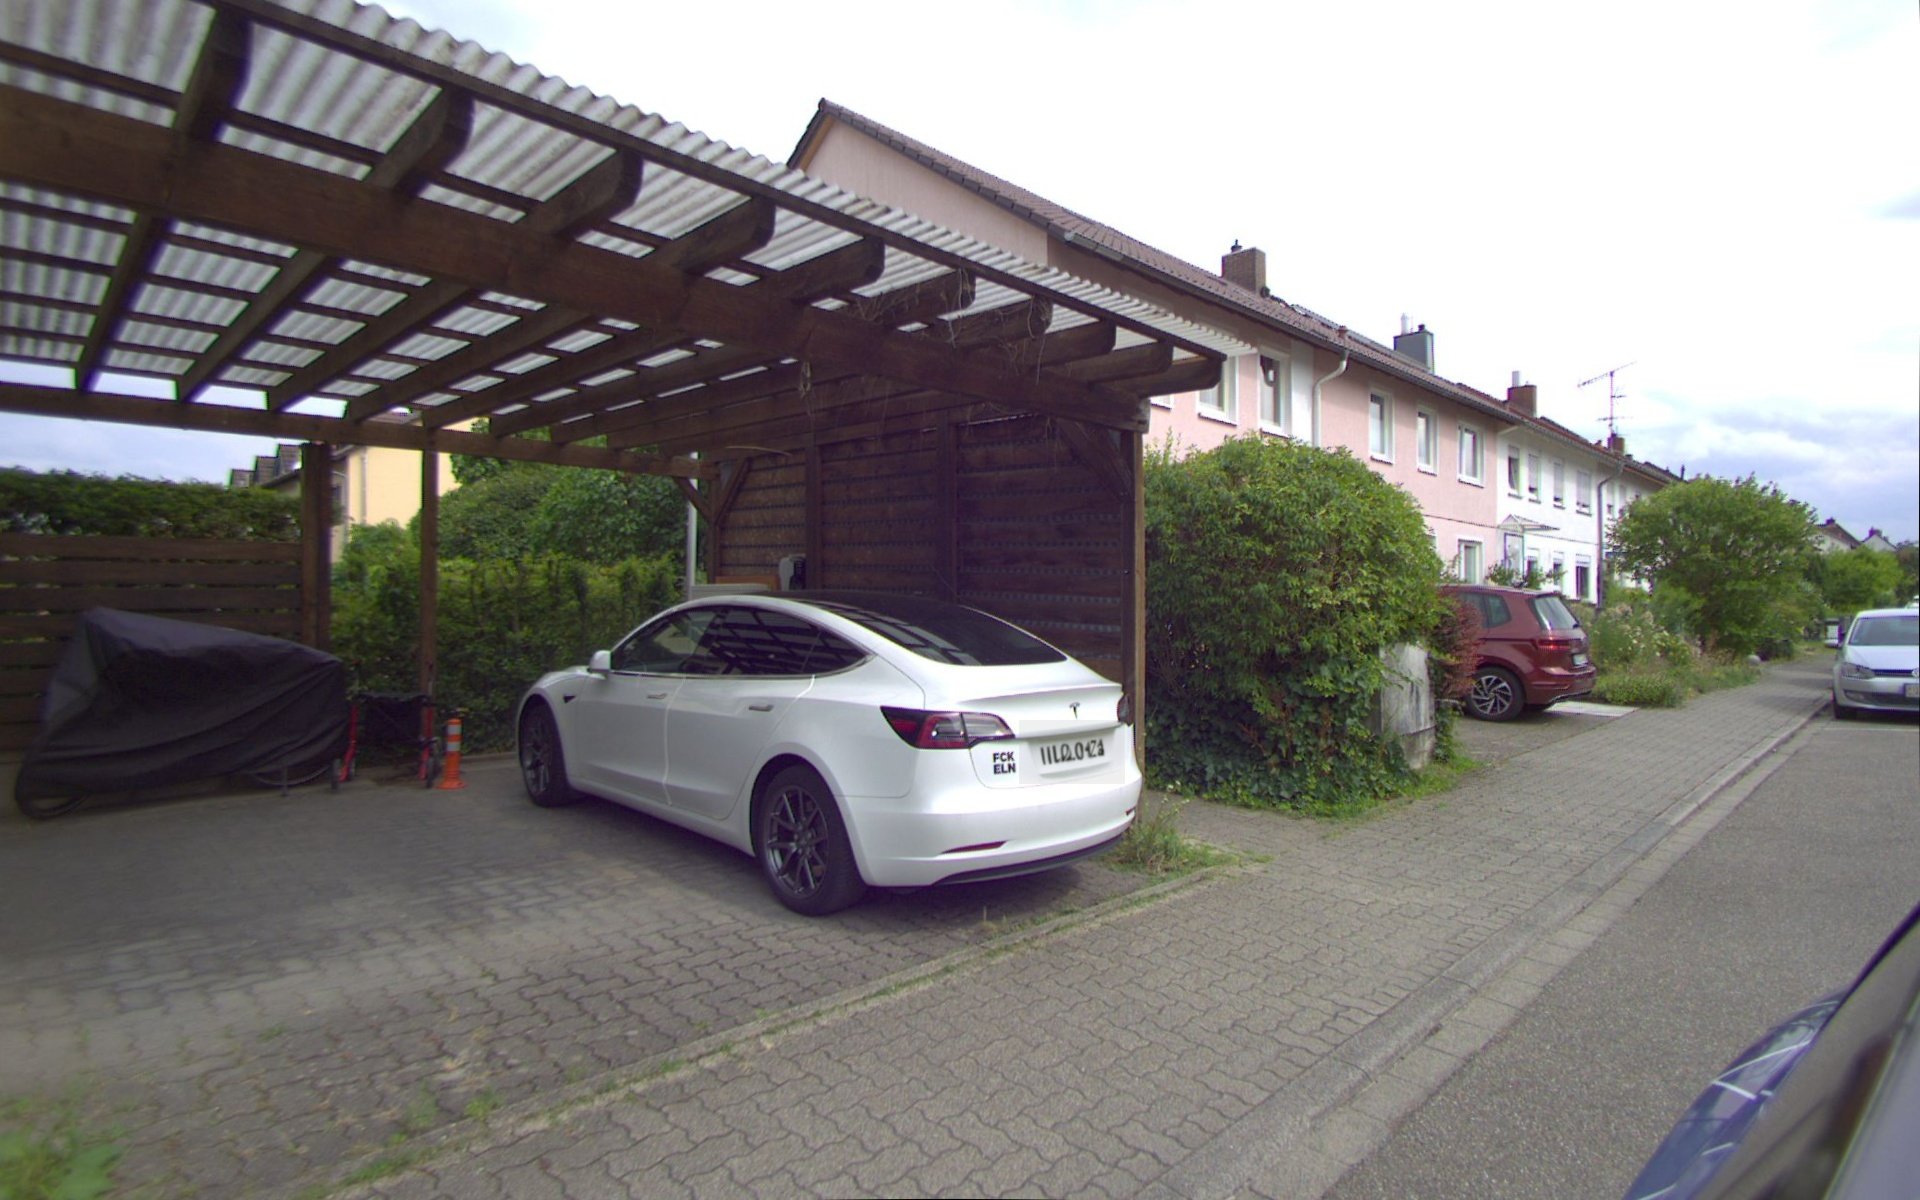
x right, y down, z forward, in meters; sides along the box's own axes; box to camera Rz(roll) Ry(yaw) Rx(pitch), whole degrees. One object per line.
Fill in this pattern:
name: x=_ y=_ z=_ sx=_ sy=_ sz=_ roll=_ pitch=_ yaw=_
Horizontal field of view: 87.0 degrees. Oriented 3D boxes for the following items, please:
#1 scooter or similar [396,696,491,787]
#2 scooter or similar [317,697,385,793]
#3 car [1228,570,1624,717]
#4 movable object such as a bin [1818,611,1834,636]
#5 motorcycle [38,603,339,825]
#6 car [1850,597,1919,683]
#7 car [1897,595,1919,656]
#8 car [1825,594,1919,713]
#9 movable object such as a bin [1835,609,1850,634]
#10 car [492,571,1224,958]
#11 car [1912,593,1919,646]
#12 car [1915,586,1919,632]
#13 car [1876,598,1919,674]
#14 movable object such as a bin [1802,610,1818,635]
scooter or similar: x=-3.677 y=0.987 z=7.189 sx=0.861 sy=0.523 sz=0.335 roll=0 pitch=-1 yaw=44
scooter or similar: x=-4.129 y=0.966 z=6.852 sx=0.641 sy=0.558 sz=0.234 roll=0 pitch=-1 yaw=44
car: x=5.857 y=0.428 z=13.099 sx=1.902 sy=1.579 sz=4.274 roll=0 pitch=1 yaw=-44
movable object such as a bin: x=32.555 y=0.898 z=38.040 sx=0.430 sy=0.933 sz=0.458 roll=-2 pitch=-2 yaw=41
motorcycle: x=-4.801 y=0.647 z=6.387 sx=0.352 sy=1.246 sz=1.458 roll=0 pitch=0 yaw=39
car: x=16.898 y=0.646 z=17.638 sx=4.195 sy=1.373 sz=1.774 roll=0 pitch=0 yaw=-44
car: x=24.526 y=0.616 z=25.101 sx=1.837 sy=1.430 sz=4.565 roll=1 pitch=0 yaw=42
car: x=13.112 y=0.652 z=13.773 sx=1.864 sy=1.435 sz=4.187 roll=0 pitch=0 yaw=43
movable object such as a bin: x=32.883 y=0.795 z=37.695 sx=0.407 sy=0.933 sz=0.415 roll=0 pitch=-1 yaw=41
car: x=-0.911 y=0.587 z=6.078 sx=4.450 sy=1.451 sz=1.995 roll=1 pitch=1 yaw=44
car: x=29.884 y=0.556 z=30.464 sx=1.713 sy=1.563 sz=3.910 roll=-2 pitch=-2 yaw=44
car: x=43.210 y=0.406 z=44.276 sx=2.020 sy=1.972 sz=4.673 roll=1 pitch=0 yaw=43
car: x=20.337 y=0.671 z=20.921 sx=4.747 sy=1.454 sz=1.774 roll=0 pitch=-2 yaw=-45
movable object such as a bin: x=32.216 y=0.856 z=38.351 sx=0.430 sy=0.933 sz=0.458 roll=-2 pitch=-2 yaw=41
